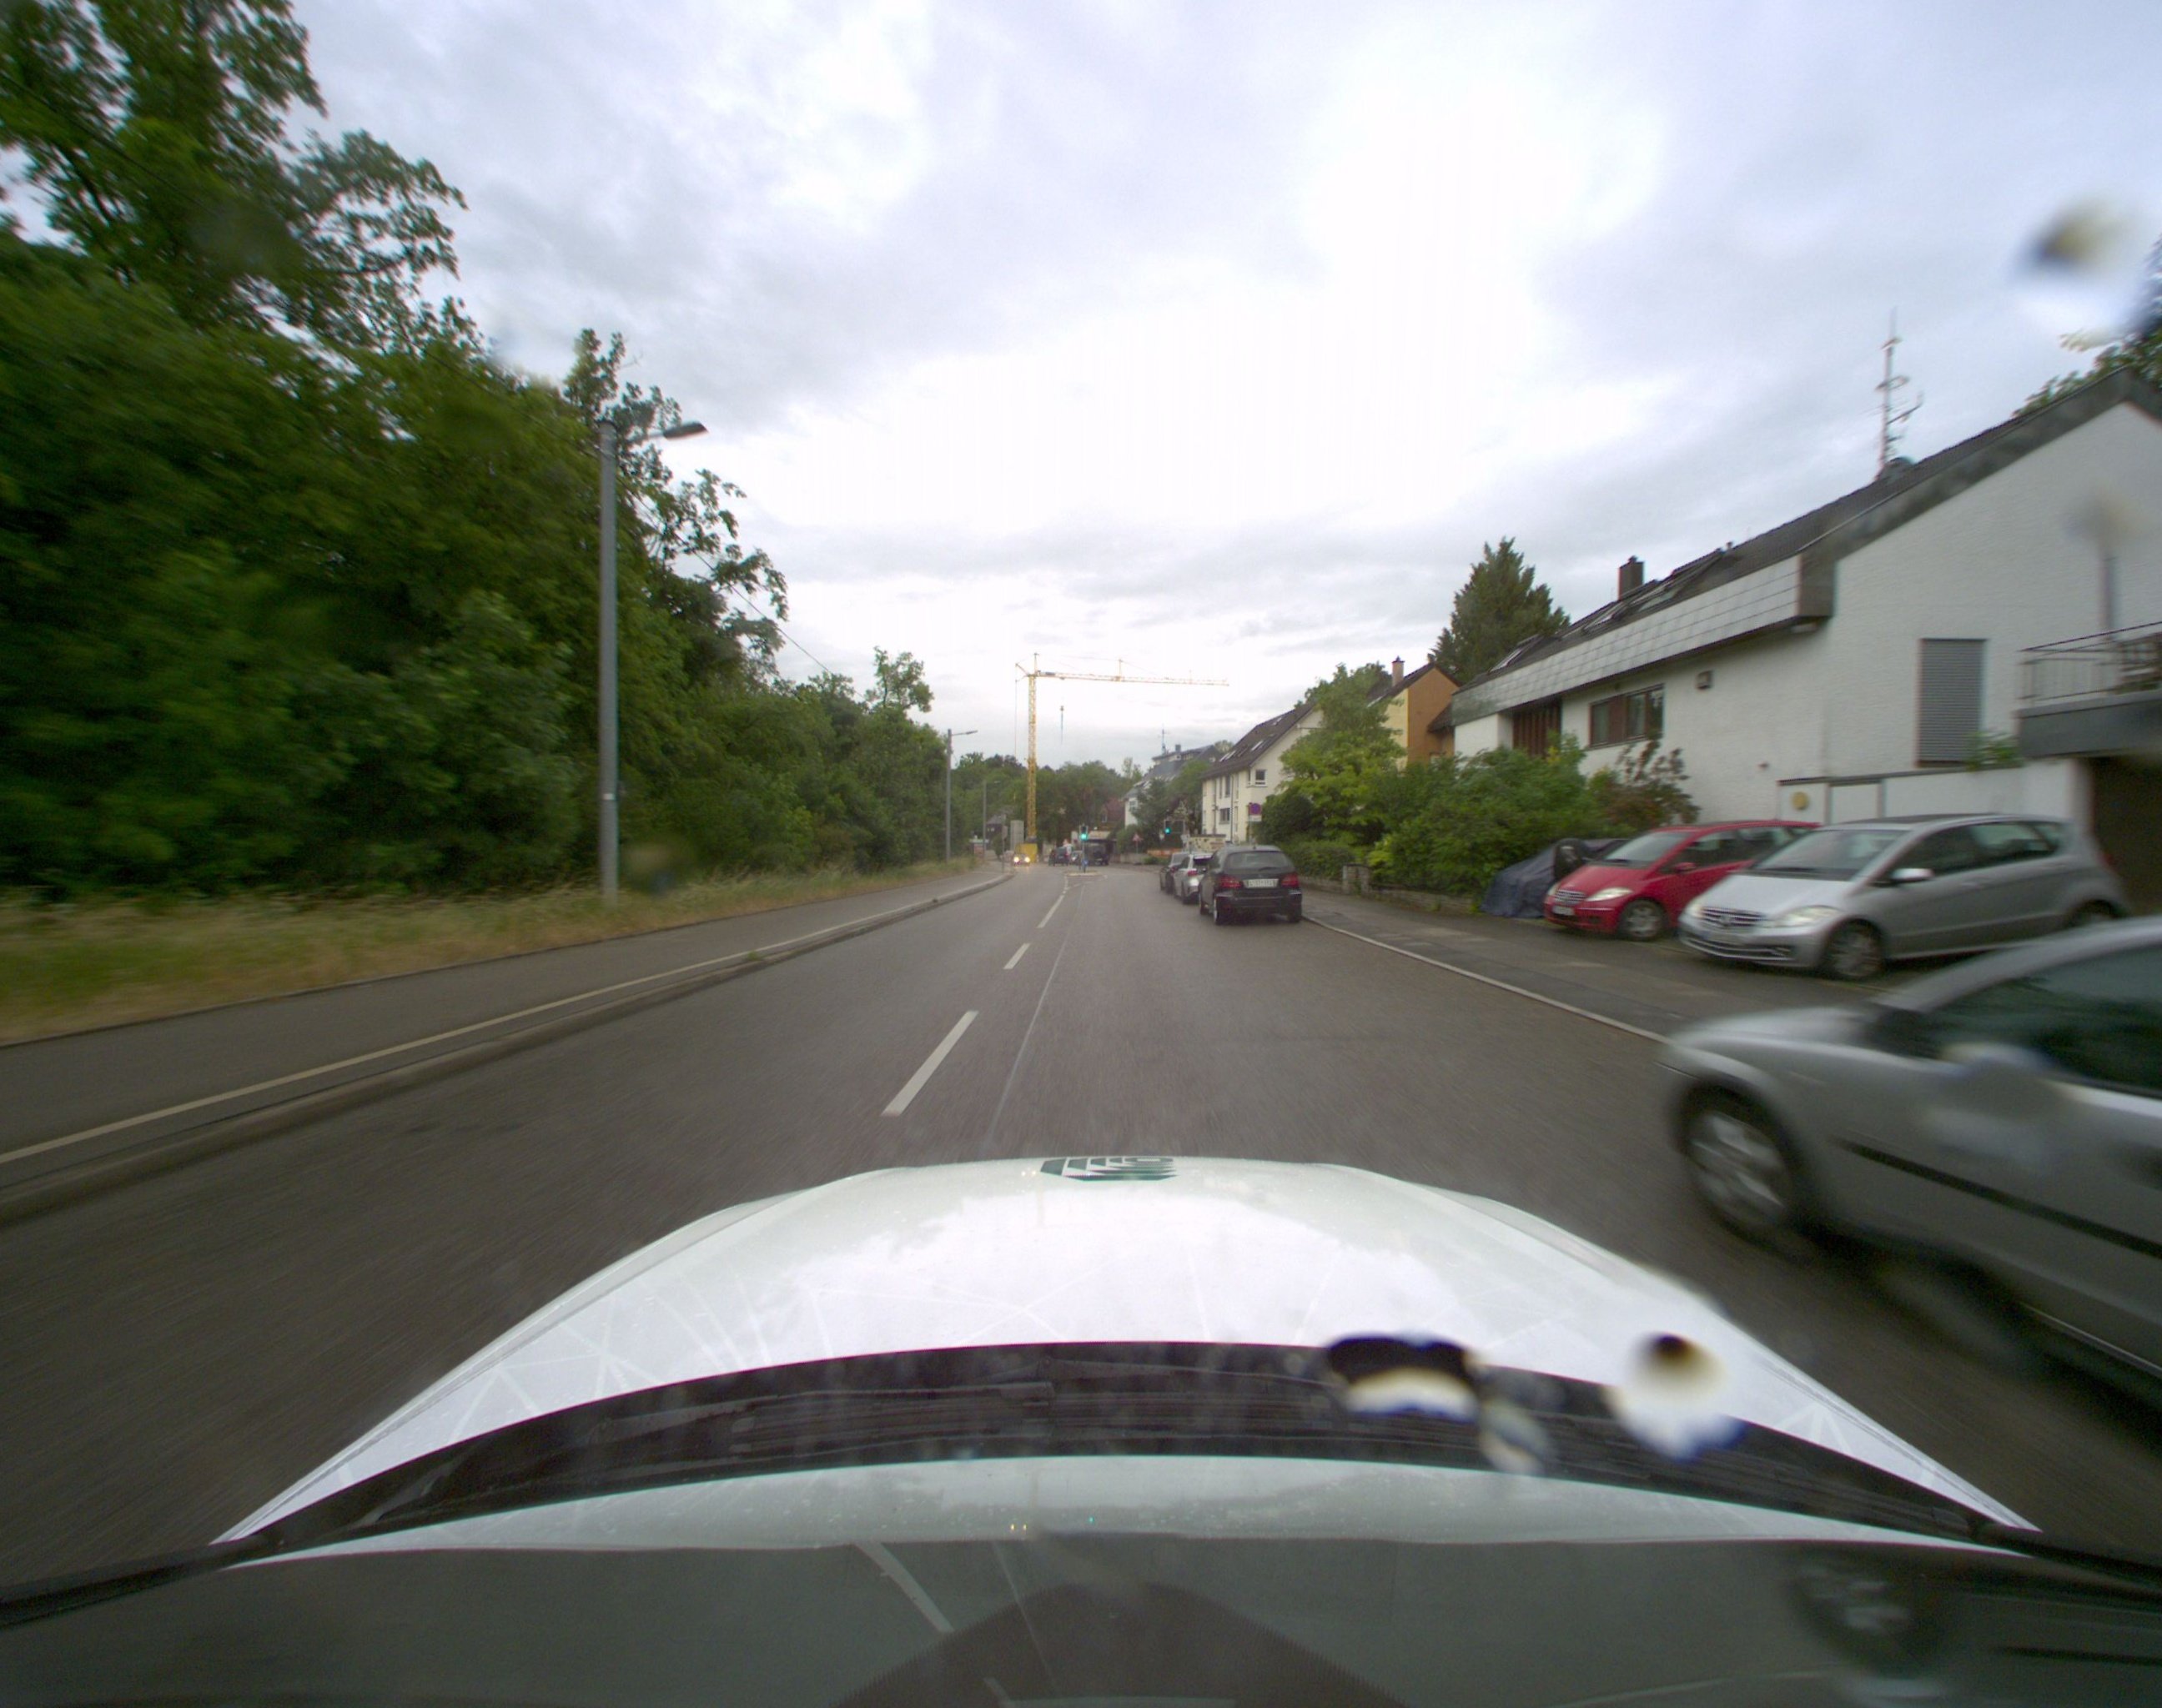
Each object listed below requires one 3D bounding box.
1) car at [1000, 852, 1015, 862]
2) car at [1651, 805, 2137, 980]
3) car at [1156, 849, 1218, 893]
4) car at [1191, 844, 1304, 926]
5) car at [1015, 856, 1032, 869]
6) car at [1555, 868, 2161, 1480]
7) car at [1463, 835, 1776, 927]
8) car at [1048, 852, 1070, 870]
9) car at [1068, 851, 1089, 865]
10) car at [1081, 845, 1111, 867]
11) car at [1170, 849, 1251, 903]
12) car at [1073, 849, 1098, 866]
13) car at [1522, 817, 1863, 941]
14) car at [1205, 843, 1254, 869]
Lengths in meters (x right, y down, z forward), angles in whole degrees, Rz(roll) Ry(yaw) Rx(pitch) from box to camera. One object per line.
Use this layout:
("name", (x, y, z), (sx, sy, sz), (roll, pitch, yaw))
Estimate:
("car", (-13.064, 0.478, 144.087), (1.748, 1.706, 4.478), (-3, 0, -16))
("car", (8.890, 0.374, 9.156), (3.648, 1.536, 1.827), (-4, 0, -2))
("car", (3.733, 0.594, 29.350), (1.745, 1.443, 4.602), (-1, -1, 2))
("car", (3.580, 0.591, 18.306), (1.724, 1.568, 4.524), (-1, 0, 2))
("car", (-6.291, 0.926, 89.570), (1.739, 1.460, 4.410), (-1, 0, -2))
("car", (3.415, 0.755, 2.268), (1.807, 1.398, 4.102), (-1, -1, 0))
("car", (9.216, 0.458, 14.219), (4.230, 1.460, 1.882), (-1, -1, 1))
("car", (-2.328, 0.714, 85.596), (1.930, 1.751, 3.989), (-1, 1, -8))
("car", (-0.290, 0.423, 88.958), (1.673, 1.457, 3.374), (-2, 0, -10))
("car", (1.422, 0.164, 79.492), (1.994, 2.013, 4.939), (-3, 0, -10))
("car", (3.801, 0.634, 24.582), (1.787, 1.487, 4.496), (-1, -1, 1))
("car", (0.414, 0.347, 84.447), (1.930, 1.596, 4.383), (-3, 0, -7))
("car", (8.922, 0.342, 12.154), (3.645, 1.566, 1.883), (-2, 0, 1))
("car", (9.781, 0.151, 54.105), (1.930, 1.596, 4.330), (2, -1, -8))
